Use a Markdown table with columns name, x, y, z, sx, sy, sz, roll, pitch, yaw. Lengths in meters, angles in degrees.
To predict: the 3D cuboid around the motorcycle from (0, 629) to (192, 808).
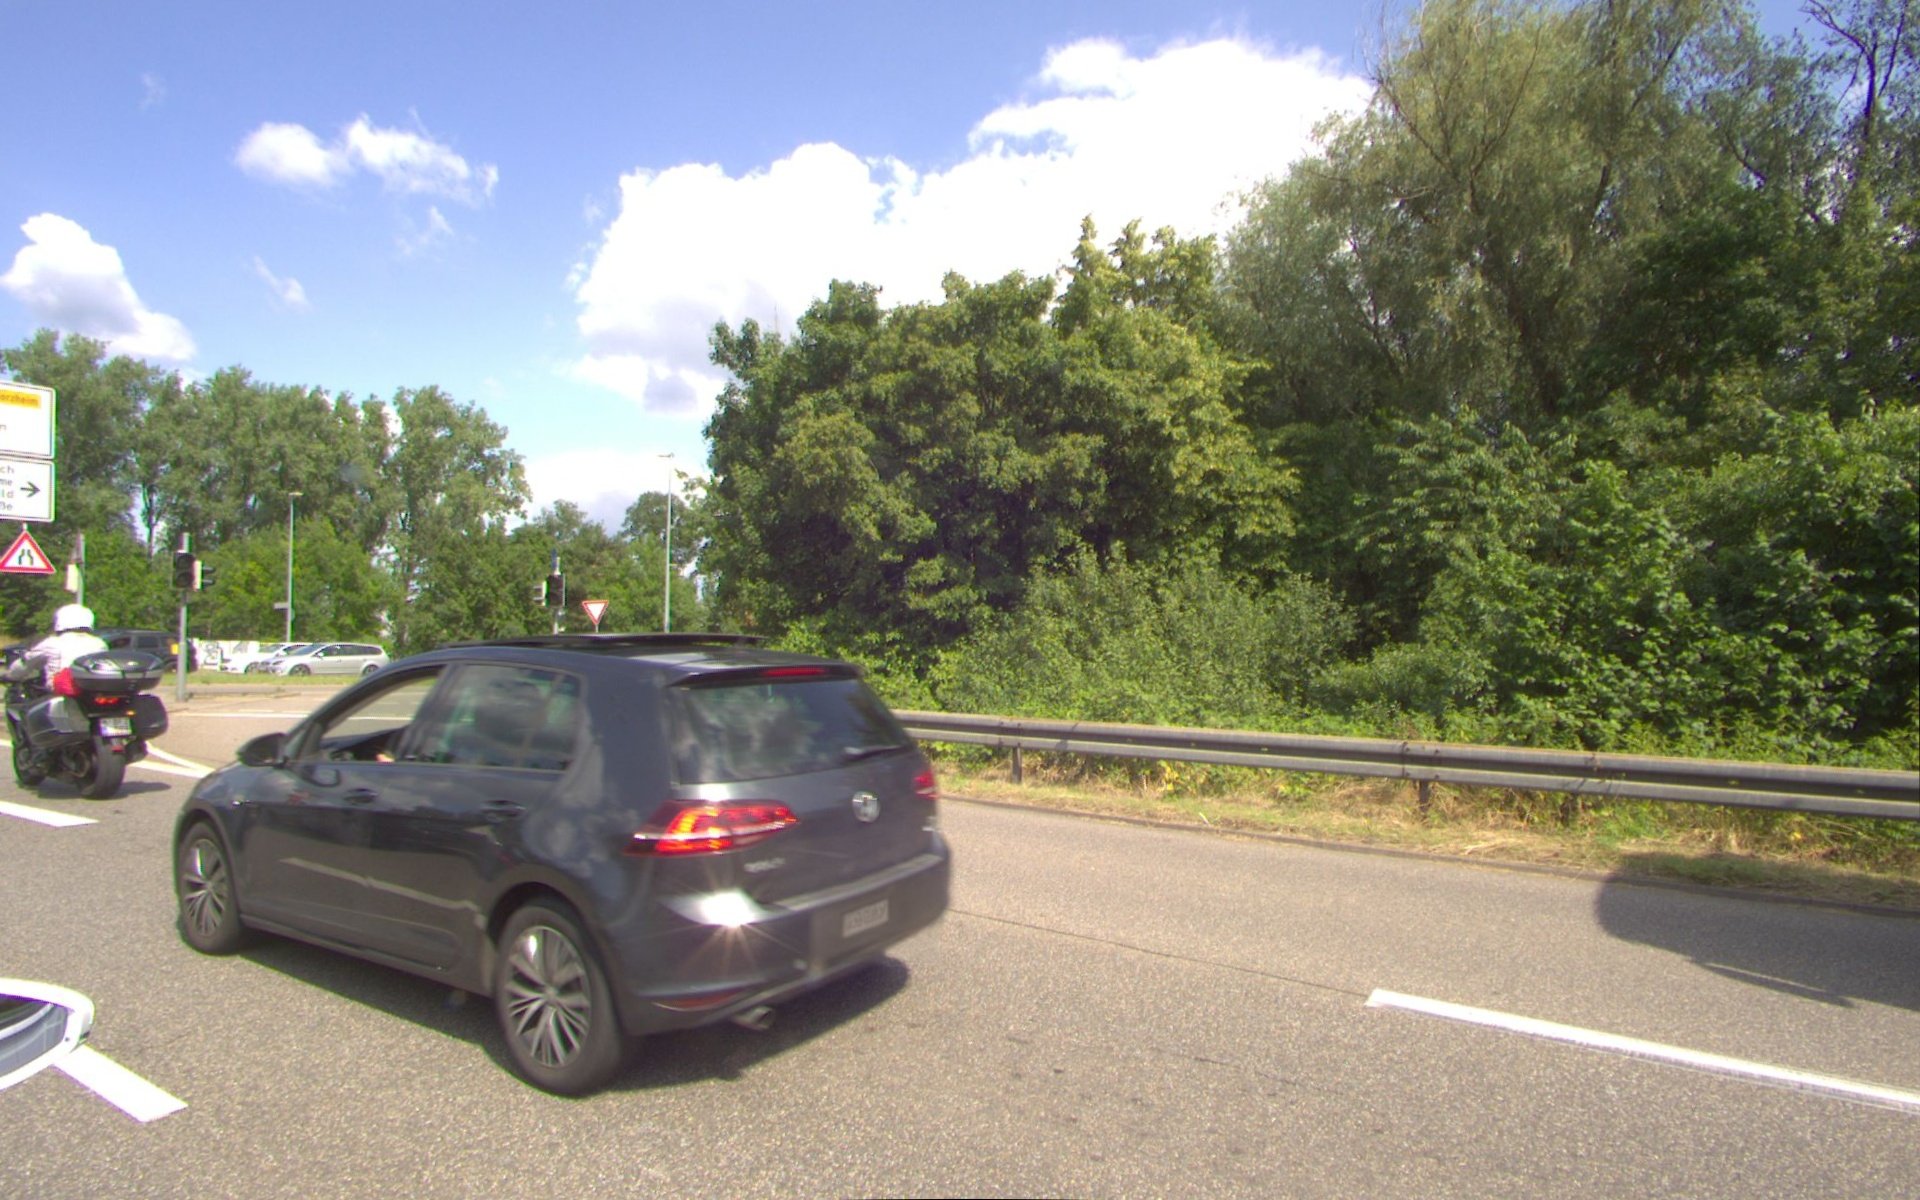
| name | x | y | z | sx | sy | sz | roll | pitch | yaw |
| --- | --- | --- | --- | --- | --- | --- | --- | --- | --- |
| motorcycle | -7.954 | 0.984 | 9.022 | 2.336 | 1.406 | 0.864 | 0 | -2 | 32 |

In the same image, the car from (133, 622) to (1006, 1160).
| name | x | y | z | sx | sy | sz | roll | pitch | yaw |
| --- | --- | --- | --- | --- | --- | --- | --- | --- | --- |
| car | -1.946 | 0.876 | 4.625 | 3.989 | 1.495 | 1.729 | -1 | -3 | 33 |

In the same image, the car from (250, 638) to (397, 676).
| name | x | y | z | sx | sy | sz | roll | pitch | yaw |
| --- | --- | --- | --- | --- | --- | --- | --- | --- | --- |
| car | -24.205 | 2.148 | 38.268 | 1.710 | 1.337 | 4.471 | 0 | -3 | 29 |

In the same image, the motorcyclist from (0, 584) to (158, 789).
| name | x | y | z | sx | sy | sz | roll | pitch | yaw |
| --- | --- | --- | --- | --- | --- | --- | --- | --- | --- |
| motorcyclist | -7.964 | 0.744 | 9.031 | 0.881 | 1.722 | 0.864 | 0 | -2 | 32 |

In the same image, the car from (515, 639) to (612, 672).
| name | x | y | z | sx | sy | sz | roll | pitch | yaw |
| --- | --- | --- | --- | --- | --- | --- | --- | --- | --- |
| car | -18.957 | 2.671 | 48.072 | 1.710 | 1.495 | 4.222 | 0 | -3 | 29 |

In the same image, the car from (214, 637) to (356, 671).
| name | x | y | z | sx | sy | sz | roll | pitch | yaw |
| --- | --- | --- | --- | --- | --- | --- | --- | --- | --- |
| car | -27.298 | 2.187 | 40.636 | 1.710 | 1.297 | 4.491 | 0 | -3 | 29 |

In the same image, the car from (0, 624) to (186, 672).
| name | x | y | z | sx | sy | sz | roll | pitch | yaw |
| --- | --- | --- | --- | --- | --- | --- | --- | --- | --- |
| car | -30.420 | 1.689 | 35.170 | 1.711 | 1.564 | 4.842 | 0 | -3 | 31 |

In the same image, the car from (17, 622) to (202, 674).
| name | x | y | z | sx | sy | sz | roll | pitch | yaw |
| --- | --- | --- | --- | --- | --- | --- | --- | --- | --- |
| car | -27.555 | 1.558 | 32.592 | 1.711 | 1.564 | 4.264 | 0 | -3 | 31 |

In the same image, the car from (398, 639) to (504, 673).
| name | x | y | z | sx | sy | sz | roll | pitch | yaw |
| --- | --- | --- | --- | --- | --- | --- | --- | --- | --- |
| car | -23.836 | 2.609 | 47.053 | 1.710 | 1.495 | 4.222 | 0 | -3 | 29 |
